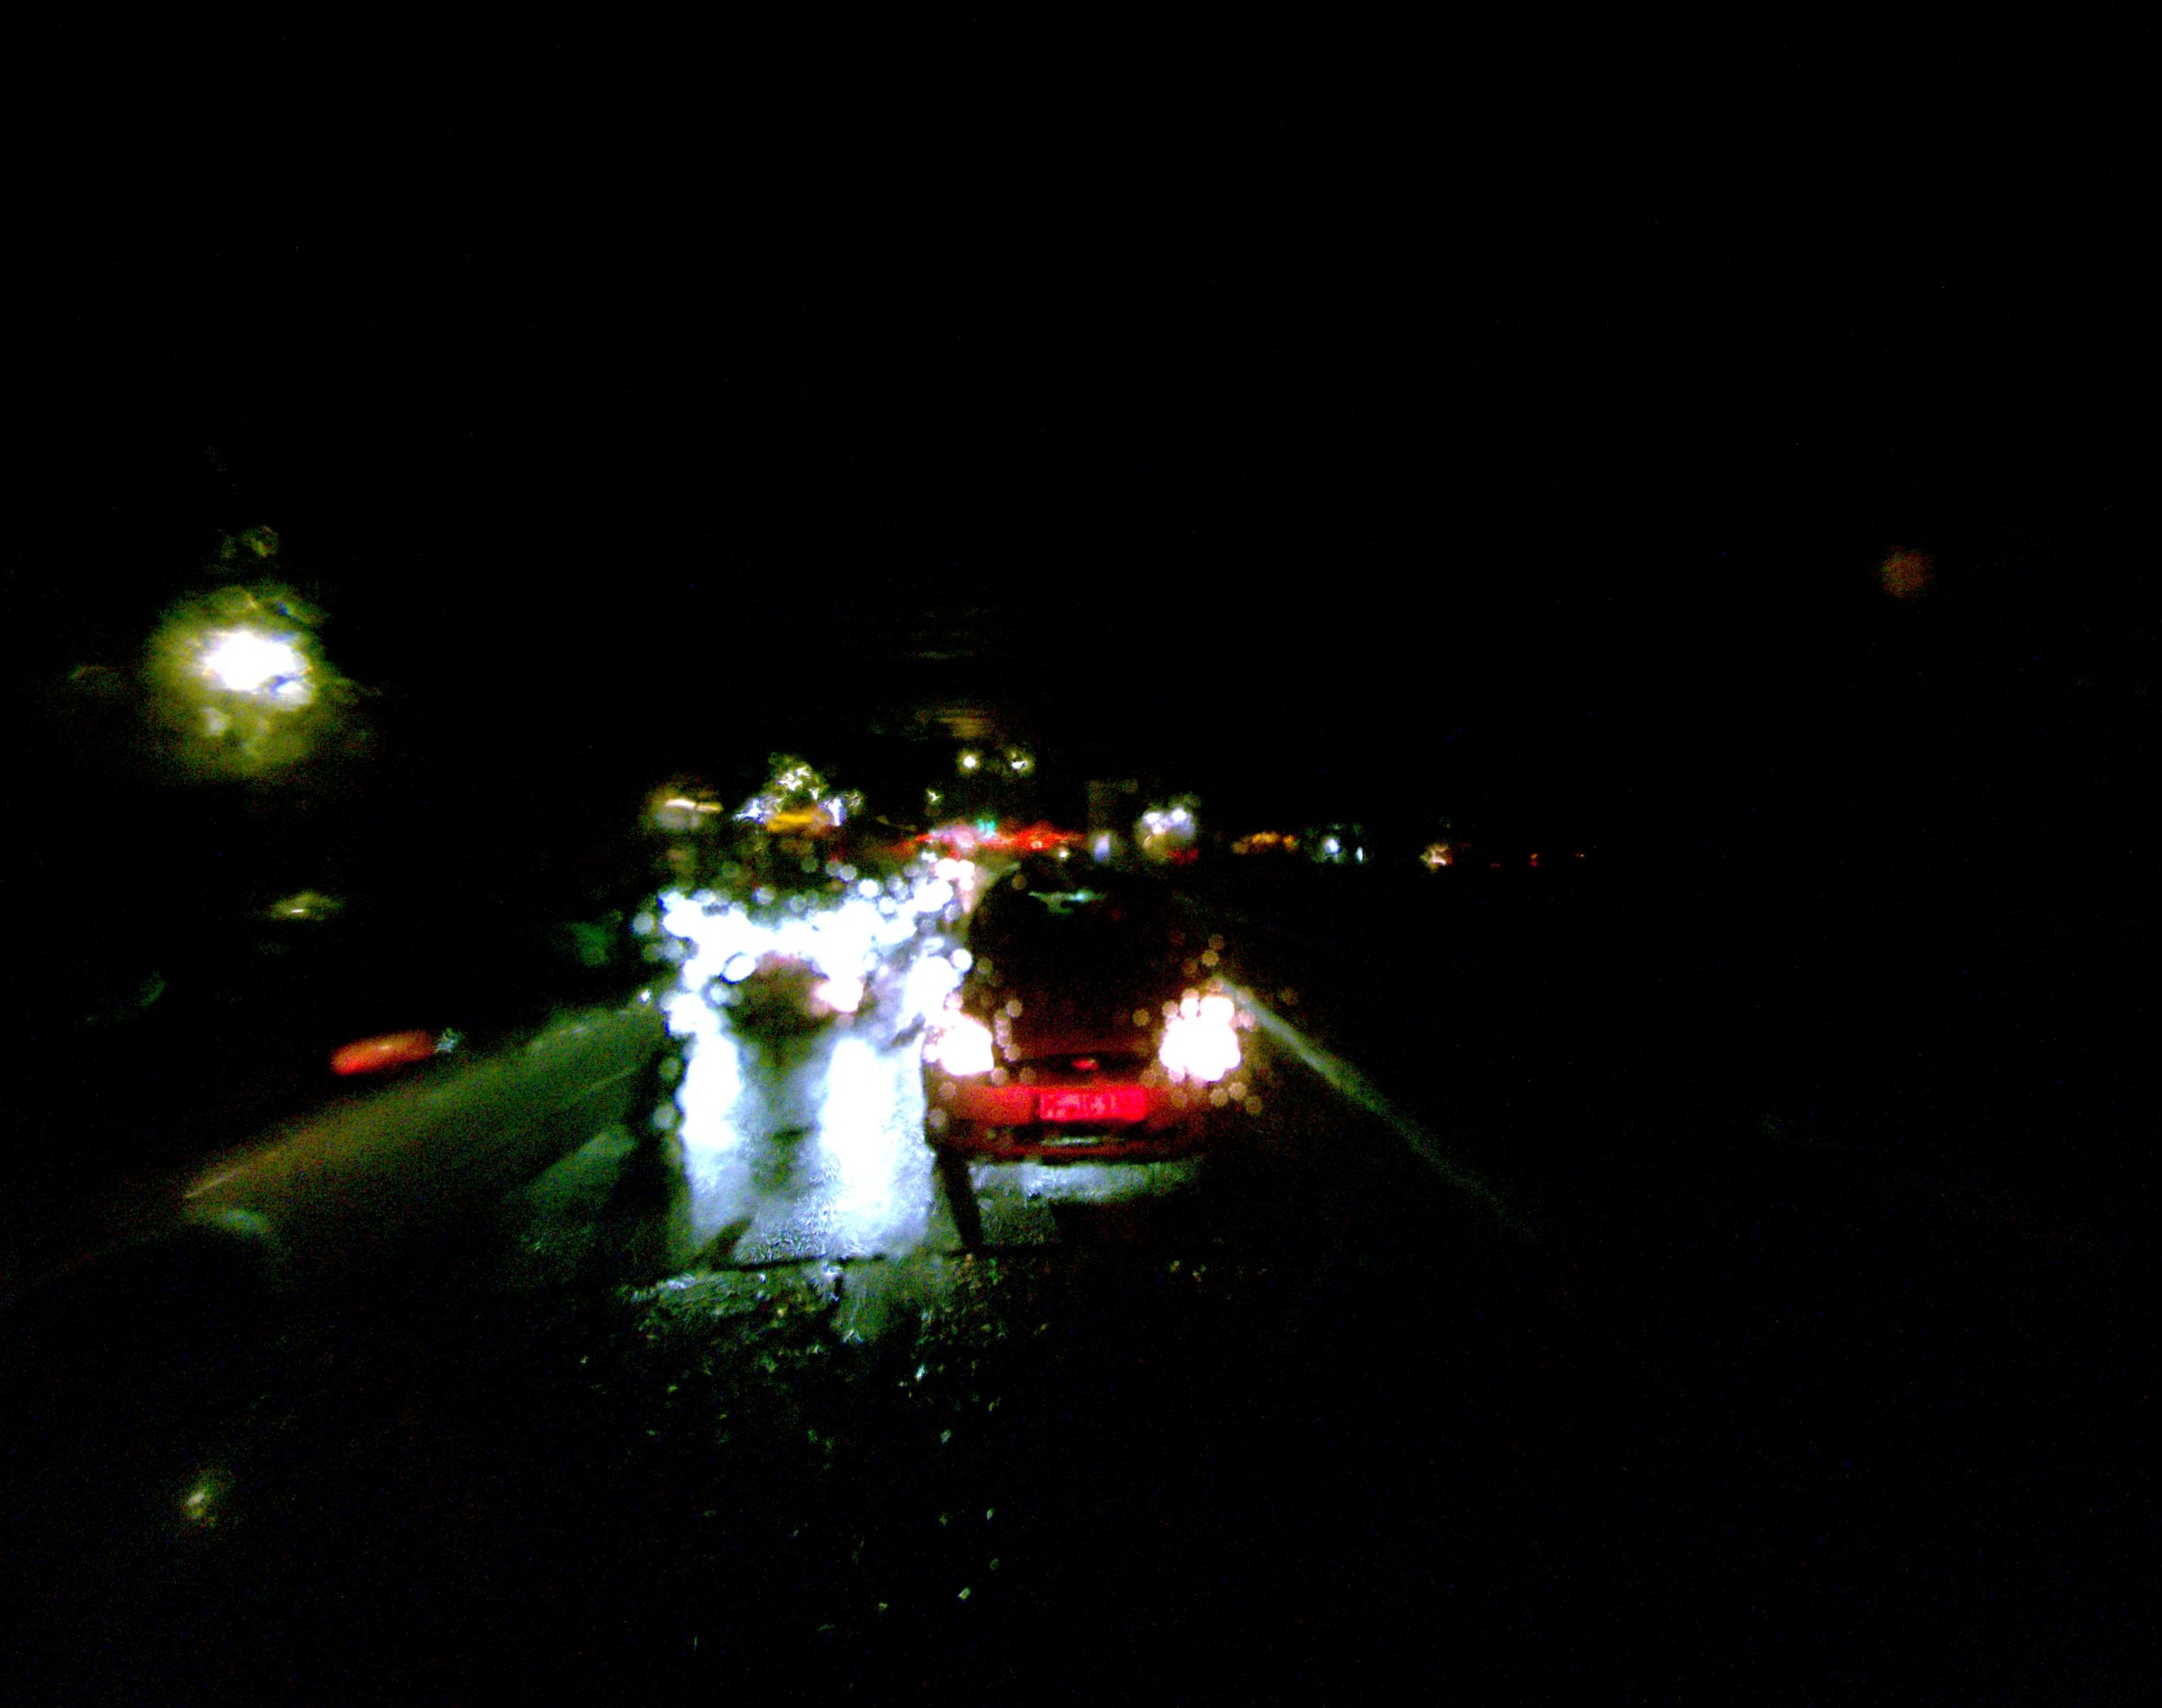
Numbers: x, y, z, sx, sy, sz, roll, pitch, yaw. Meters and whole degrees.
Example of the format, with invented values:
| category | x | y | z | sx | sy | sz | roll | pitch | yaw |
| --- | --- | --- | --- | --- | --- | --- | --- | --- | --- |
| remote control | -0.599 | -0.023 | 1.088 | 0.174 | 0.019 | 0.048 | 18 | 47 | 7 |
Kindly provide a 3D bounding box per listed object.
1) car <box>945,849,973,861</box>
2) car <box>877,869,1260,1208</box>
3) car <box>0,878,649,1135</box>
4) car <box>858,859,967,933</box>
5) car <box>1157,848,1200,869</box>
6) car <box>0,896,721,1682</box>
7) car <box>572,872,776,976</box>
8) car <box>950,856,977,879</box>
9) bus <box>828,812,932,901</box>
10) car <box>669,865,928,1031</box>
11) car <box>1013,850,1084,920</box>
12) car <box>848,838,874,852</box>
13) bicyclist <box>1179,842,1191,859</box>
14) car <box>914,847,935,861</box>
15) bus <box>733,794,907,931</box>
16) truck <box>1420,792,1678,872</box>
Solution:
| category | x | y | z | sx | sy | sz | roll | pitch | yaw |
| --- | --- | --- | --- | --- | --- | --- | --- | --- | --- |
| car | -16.040 | 0.094 | 99.666 | 1.833 | 1.456 | 4.414 | -2 | 1 | -34 |
| car | -0.071 | 0.895 | 5.486 | 1.755 | 1.438 | 3.973 | 0 | 1 | 0 |
| car | -6.443 | 1.090 | 7.424 | 1.724 | 1.478 | 4.786 | -1 | 1 | 0 |
| car | -3.810 | 0.894 | 17.798 | 1.698 | 1.455 | 3.973 | 0 | 1 | 0 |
| car | 6.923 | 0.288 | 54.377 | 2.041 | 1.478 | 4.495 | 0 | 1 | -7 |
| car | -3.162 | 1.030 | 2.754 | 1.724 | 1.438 | 4.161 | -1 | 1 | 0 |
| car | -7.147 | 1.132 | 13.876 | 1.725 | 1.478 | 4.160 | 0 | 1 | -4 |
| car | -8.101 | 0.891 | 52.141 | 1.726 | 1.478 | 4.157 | 0 | 1 | -11 |
| bus | -8.388 | 0.026 | 32.989 | 2.742 | 3.219 | 9.693 | -2 | 1 | -6 |
| car | -3.324 | 0.995 | 9.904 | 1.724 | 1.478 | 4.161 | -4 | 1 | 0 |
| car | -0.858 | 0.755 | 20.610 | 1.724 | 1.695 | 3.972 | 0 | 1 | -2 |
| car | -23.744 | -0.957 | 81.978 | 1.712 | 1.382 | 3.990 | -2 | 1 | -32 |
| bicyclist | 8.665 | -0.311 | 63.373 | 0.630 | 1.427 | 1.187 | -1 | 1 | -14 |
| car | -17.058 | 0.018 | 82.802 | 1.727 | 1.478 | 4.154 | 0 | 1 | -19 |
| bus | -7.440 | 0.147 | 23.325 | 2.742 | 3.258 | 9.693 | -2 | 1 | -5 |
| truck | 28.636 | -1.320 | 47.048 | 13.671 | 4.416 | 2.743 | -1 | 1 | 7 |
